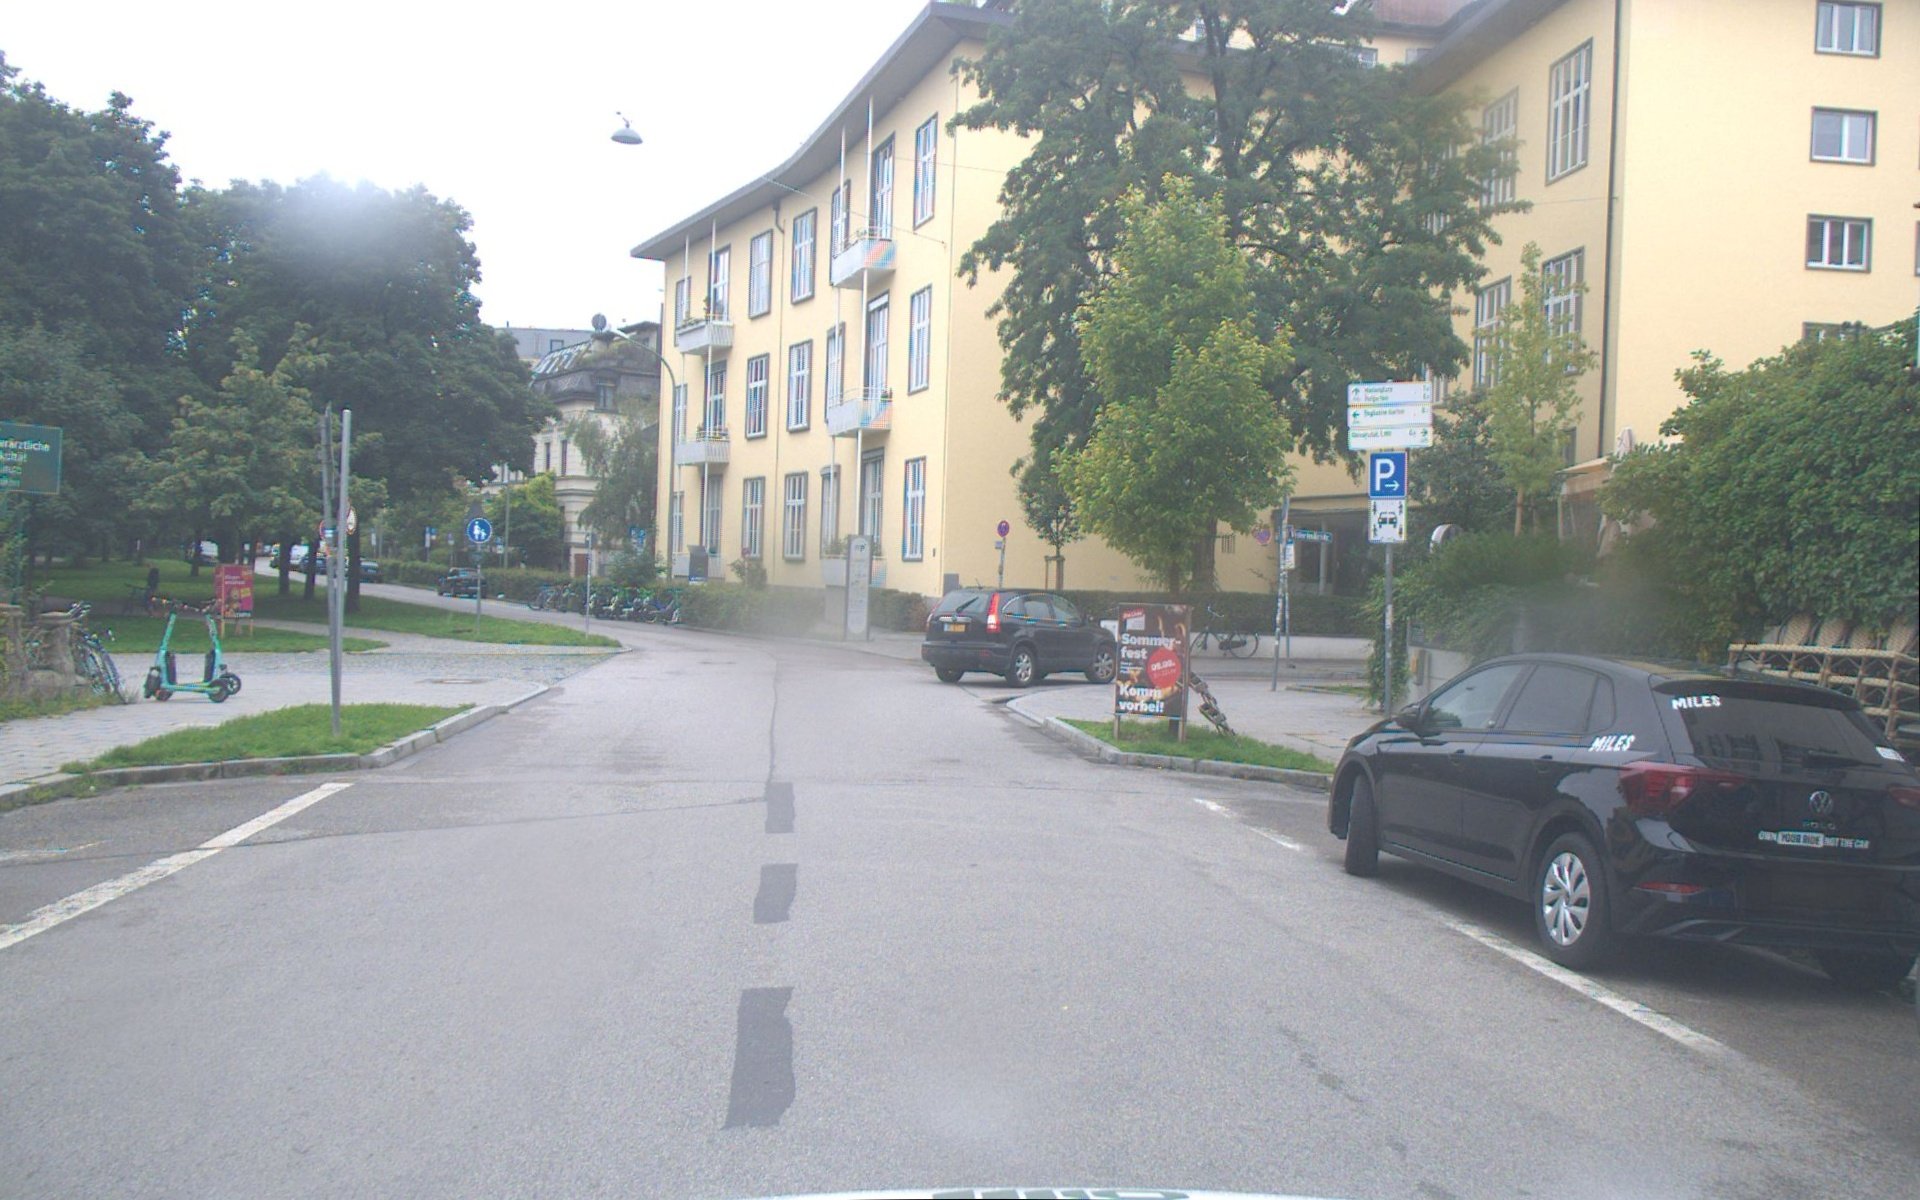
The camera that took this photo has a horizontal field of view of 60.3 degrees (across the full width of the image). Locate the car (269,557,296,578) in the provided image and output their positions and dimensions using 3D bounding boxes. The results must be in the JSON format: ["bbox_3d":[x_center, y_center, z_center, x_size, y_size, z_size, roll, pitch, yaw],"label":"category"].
[{"bbox_3d":[-57.415,-2.757,140.072,1.626,1.681,4.243,2,0,-29],"label":"car"}]

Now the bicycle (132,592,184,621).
[{"bbox_3d":[-23.610,0.185,48.719,1.328,0.789,0.440,2,0,6],"label":"bicycle"}]

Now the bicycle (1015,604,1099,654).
[{"bbox_3d":[2.374,0.701,40.569,2.180,1.136,0.606,2,0,44],"label":"bicycle"}]

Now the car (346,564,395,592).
[{"bbox_3d":[-37.165,-1.399,104.190,2.153,1.686,4.461,2,0,-30],"label":"car"}]

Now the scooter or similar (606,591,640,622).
[{"bbox_3d":[-12.397,0.243,60.845,0.485,1.107,1.409,1,1,23],"label":"scooter or similar"}]

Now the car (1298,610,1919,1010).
[{"bbox_3d":[3.397,0.946,9.159,1.672,1.544,3.952,6,0,-8],"label":"car"}]

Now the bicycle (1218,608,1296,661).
[{"bbox_3d":[7.039,0.818,39.259,1.699,1.170,0.610,2,0,0],"label":"bicycle"}]

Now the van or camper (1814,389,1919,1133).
[{"bbox_3d":[4.087,0.580,2.847,2.020,2.269,5.435,5,0,-3],"label":"van or camper"}]

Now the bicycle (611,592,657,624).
[{"bbox_3d":[-11.917,0.285,60.517,0.564,1.104,1.931,1,1,27],"label":"bicycle"}]

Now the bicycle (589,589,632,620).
[{"bbox_3d":[-12.912,0.171,61.156,0.624,1.104,1.986,1,1,20],"label":"bicycle"}]

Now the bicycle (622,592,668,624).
[{"bbox_3d":[-11.399,0.288,59.986,0.564,1.104,1.931,1,1,27],"label":"bicycle"}]

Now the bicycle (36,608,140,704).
[{"bbox_3d":[-11.253,0.702,21.328,1.473,1.154,0.651,2,0,40],"label":"bicycle"}]

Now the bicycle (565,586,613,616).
[{"bbox_3d":[-14.239,0.030,63.575,0.747,1.104,2.142,1,1,20],"label":"bicycle"}]

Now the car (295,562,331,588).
[{"bbox_3d":[-47.629,-1.847,121.771,1.856,1.847,3.960,2,0,-30],"label":"car"}]

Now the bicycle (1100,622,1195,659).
[{"bbox_3d":[4.457,0.956,39.366,2.163,0.792,0.610,2,0,16],"label":"bicycle"}]

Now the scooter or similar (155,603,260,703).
[{"bbox_3d":[-9.652,0.663,21.252,0.437,1.241,1.178,-1,0,32],"label":"scooter or similar"}]

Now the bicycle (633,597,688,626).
[{"bbox_3d":[-10.457,0.401,57.844,1.805,1.023,0.571,0,1,-32],"label":"bicycle"}]

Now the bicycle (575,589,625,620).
[{"bbox_3d":[-13.458,0.151,61.852,0.681,1.104,2.339,1,1,20],"label":"bicycle"}]

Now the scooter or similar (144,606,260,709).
[{"bbox_3d":[-9.379,0.705,20.490,1.154,1.241,0.602,-1,0,-2],"label":"scooter or similar"}]

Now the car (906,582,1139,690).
[{"bbox_3d":[1.206,0.682,29.770,1.964,1.723,4.360,3,-1,38],"label":"car"}]

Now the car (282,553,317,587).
[{"bbox_3d":[-52.001,-2.386,130.126,1.856,2.613,4.883,2,0,-30],"label":"car"}]

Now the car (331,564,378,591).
[{"bbox_3d":[-40.074,-1.502,109.470,2.153,1.686,4.461,2,0,-30],"label":"car"}]

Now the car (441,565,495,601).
[{"bbox_3d":[-24.517,-0.860,82.286,1.841,1.662,4.246,2,0,-27],"label":"car"}]

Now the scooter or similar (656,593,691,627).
[{"bbox_3d":[-9.807,0.344,56.592,0.485,1.128,1.409,1,1,23],"label":"scooter or similar"}]

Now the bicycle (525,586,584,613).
[{"bbox_3d":[-16.931,-0.017,69.150,2.311,1.104,0.684,0,1,-35],"label":"bicycle"}]

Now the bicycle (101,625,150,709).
[{"bbox_3d":[-10.072,0.794,19.947,0.465,0.939,1.193,1,0,-29],"label":"bicycle"}]

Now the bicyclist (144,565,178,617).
[{"bbox_3d":[-23.525,-0.260,48.692,0.614,1.486,0.646,2,0,7],"label":"bicyclist"}]

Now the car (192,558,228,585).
[{"bbox_3d":[-53.819,-2.042,118.610,1.972,1.870,3.961,2,0,-29],"label":"car"}]

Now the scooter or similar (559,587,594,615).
[{"bbox_3d":[-15.666,0.027,67.549,1.380,1.107,0.595,1,1,-12],"label":"scooter or similar"}]
